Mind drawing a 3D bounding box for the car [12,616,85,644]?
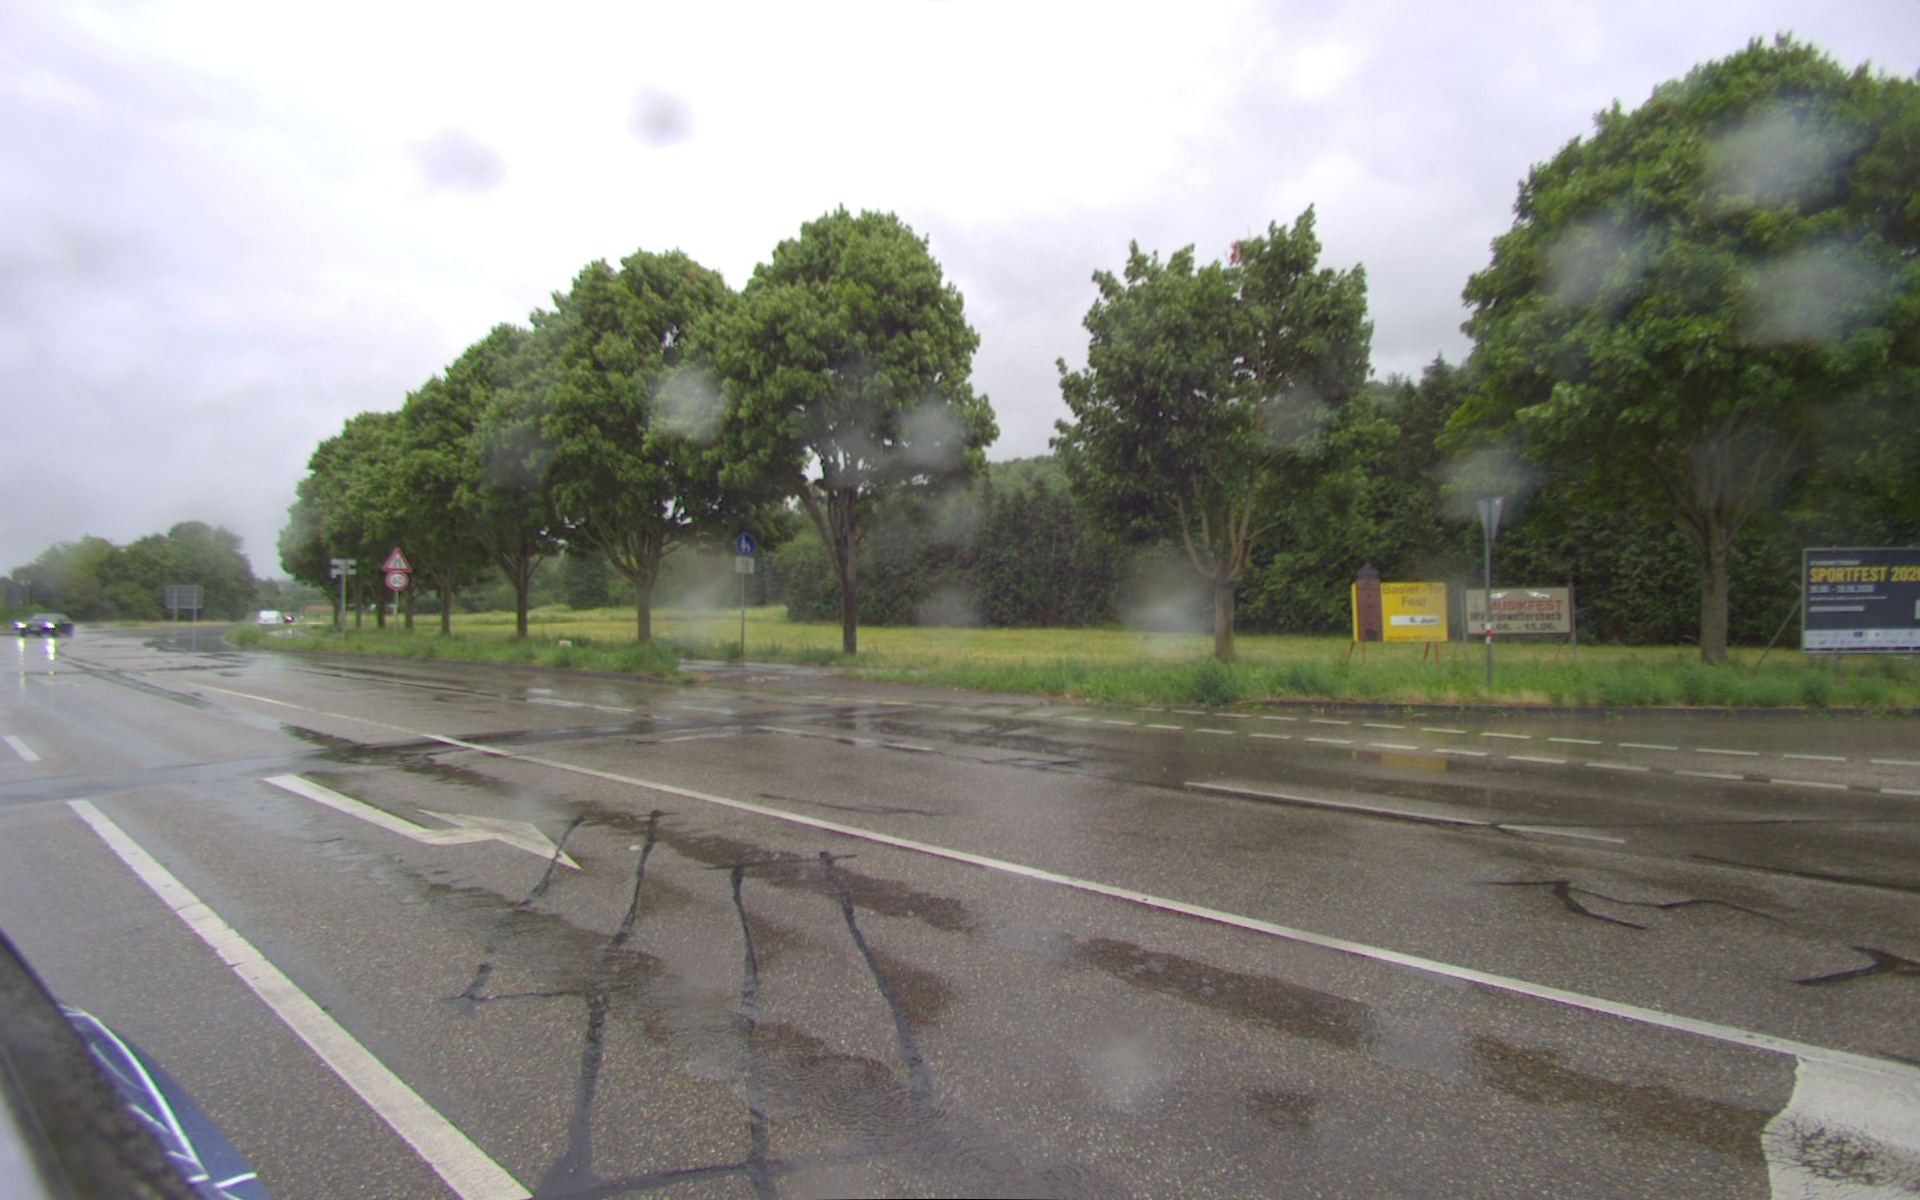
[{"bbox_3d":[-56.850,1.840,63.211,1.885,1.597,4.116,0,0,-18],"label":"car"}]

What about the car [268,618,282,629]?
[{"bbox_3d":[-110.397,3.783,163.091,1.885,1.701,4.114,0,0,-34],"label":"car"}]

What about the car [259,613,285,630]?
[{"bbox_3d":[-82.204,2.526,120.989,2.077,1.907,4.806,0,0,-27],"label":"car"}]
